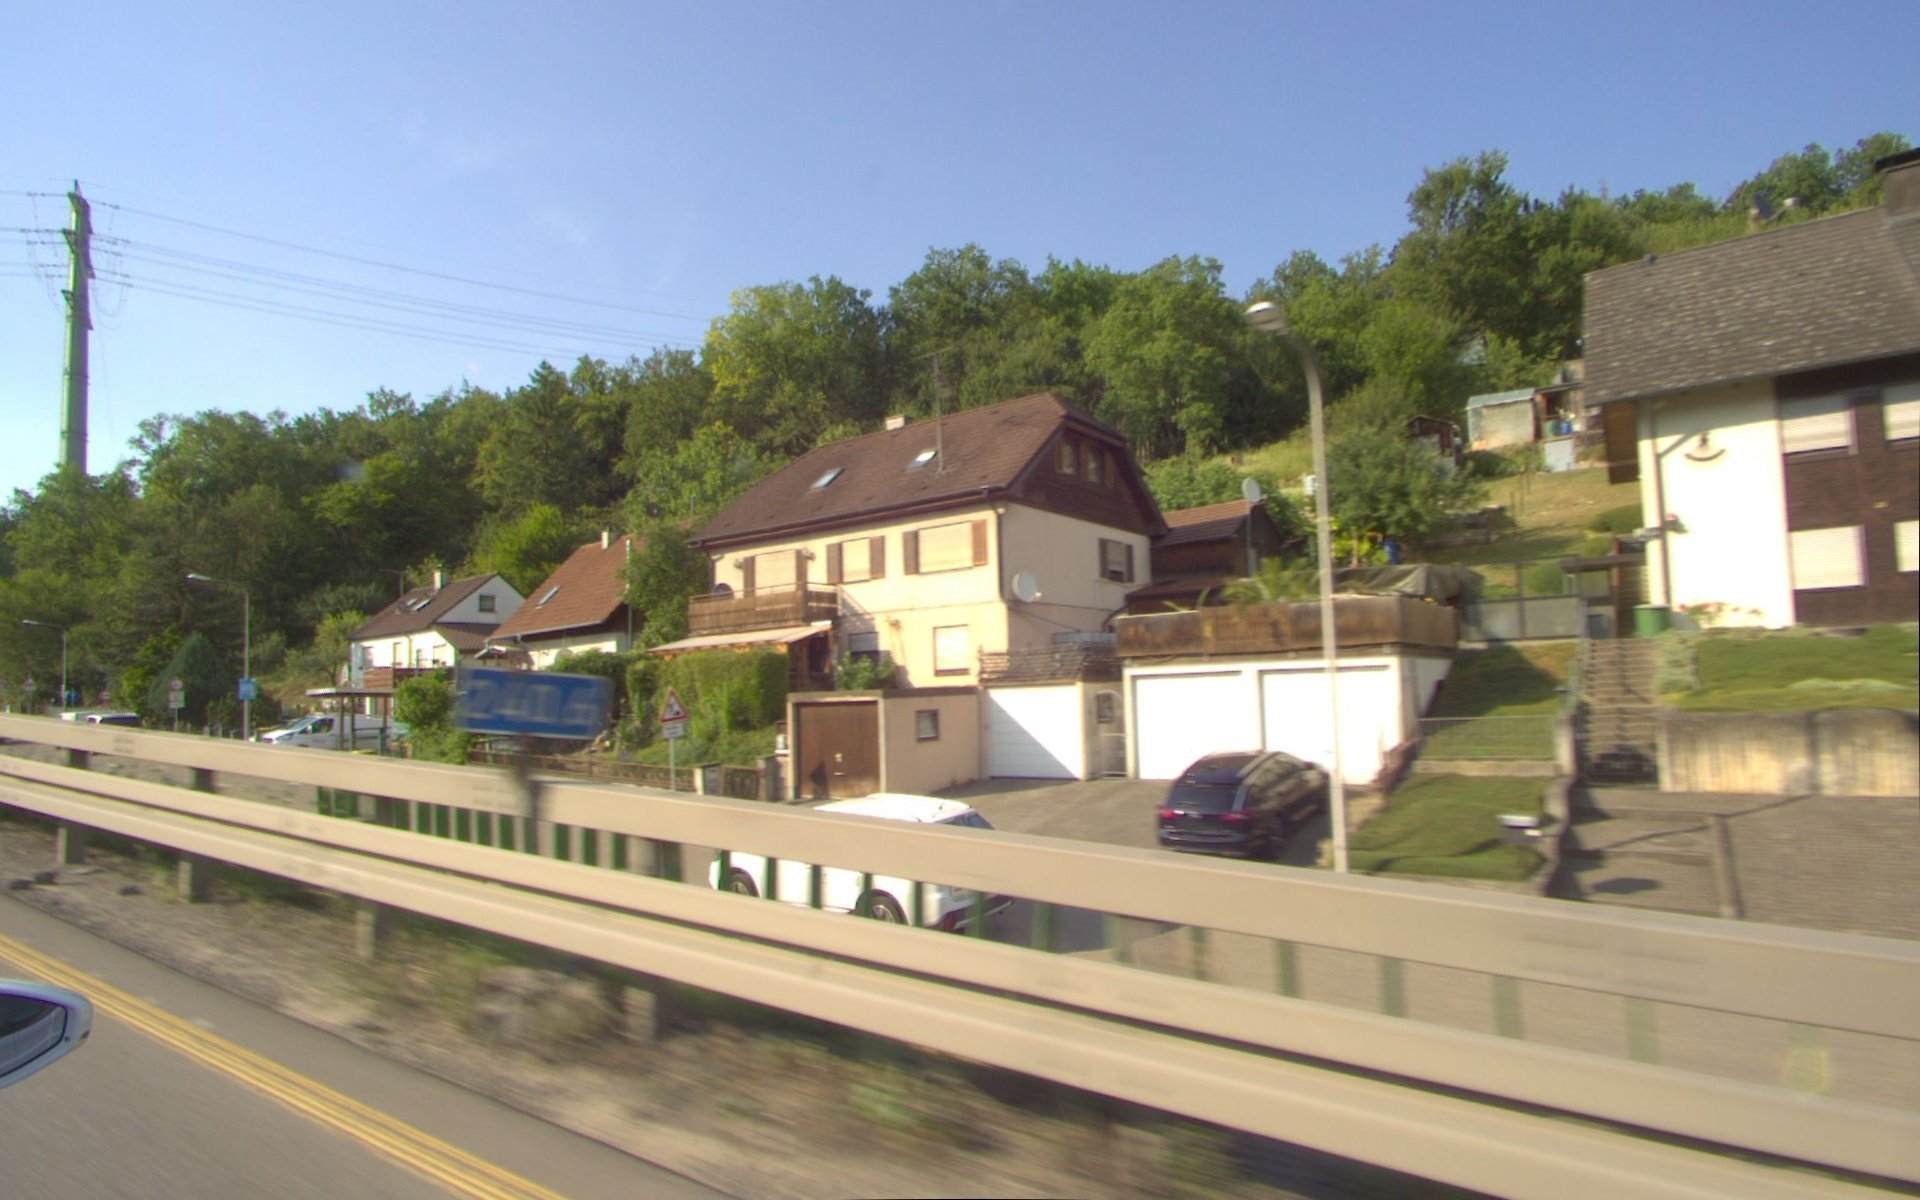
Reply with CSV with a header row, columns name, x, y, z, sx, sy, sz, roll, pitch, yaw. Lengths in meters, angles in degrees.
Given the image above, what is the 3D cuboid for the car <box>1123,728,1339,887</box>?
name,x,y,z,sx,sy,sz,roll,pitch,yaw
car,4.773,3.363,17.148,1.976,1.546,4.474,-4,2,37

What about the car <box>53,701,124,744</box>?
name,x,y,z,sx,sy,sz,roll,pitch,yaw
car,-46.284,6.438,53.154,4.989,2.010,1.856,-4,-3,37

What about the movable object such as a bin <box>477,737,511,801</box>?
name,x,y,z,sx,sy,sz,roll,pitch,yaw
movable object such as a bin,-13.530,4.901,29.073,0.404,1.787,0.534,-3,-12,41

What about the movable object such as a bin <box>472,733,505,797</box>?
name,x,y,z,sx,sy,sz,roll,pitch,yaw
movable object such as a bin,-13.835,4.841,29.381,0.411,1.787,0.528,-3,-12,41

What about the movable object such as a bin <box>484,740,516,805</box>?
name,x,y,z,sx,sy,sz,roll,pitch,yaw
movable object such as a bin,-13.220,4.965,28.786,0.409,1.787,0.488,-3,-12,41

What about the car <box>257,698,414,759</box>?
name,x,y,z,sx,sy,sz,roll,pitch,yaw
car,-27.122,5.515,43.686,1.974,2.291,5.453,-2,-4,35

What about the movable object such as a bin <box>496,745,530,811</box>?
name,x,y,z,sx,sy,sz,roll,pitch,yaw
movable object such as a bin,-12.588,5.014,28.203,0.409,1.787,0.488,-3,-12,41

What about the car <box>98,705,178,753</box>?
name,x,y,z,sx,sy,sz,roll,pitch,yaw
car,-38.349,5.959,46.680,4.807,1.941,1.988,-4,-3,39

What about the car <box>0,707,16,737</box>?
name,x,y,z,sx,sy,sz,roll,pitch,yaw
car,-57.277,7.245,59.449,4.222,1.479,1.517,-2,-2,43

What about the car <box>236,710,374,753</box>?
name,x,y,z,sx,sy,sz,roll,pitch,yaw
car,-30.093,6.004,46.204,1.693,1.575,5.077,-3,-4,35

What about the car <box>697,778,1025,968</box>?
name,x,y,z,sx,sy,sz,roll,pitch,yaw
car,-1.442,3.464,13.420,4.416,1.682,1.662,-3,-3,37

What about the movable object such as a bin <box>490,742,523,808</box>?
name,x,y,z,sx,sy,sz,roll,pitch,yaw
movable object such as a bin,-12.906,4.981,28.501,0.409,1.787,0.488,-3,-12,41
